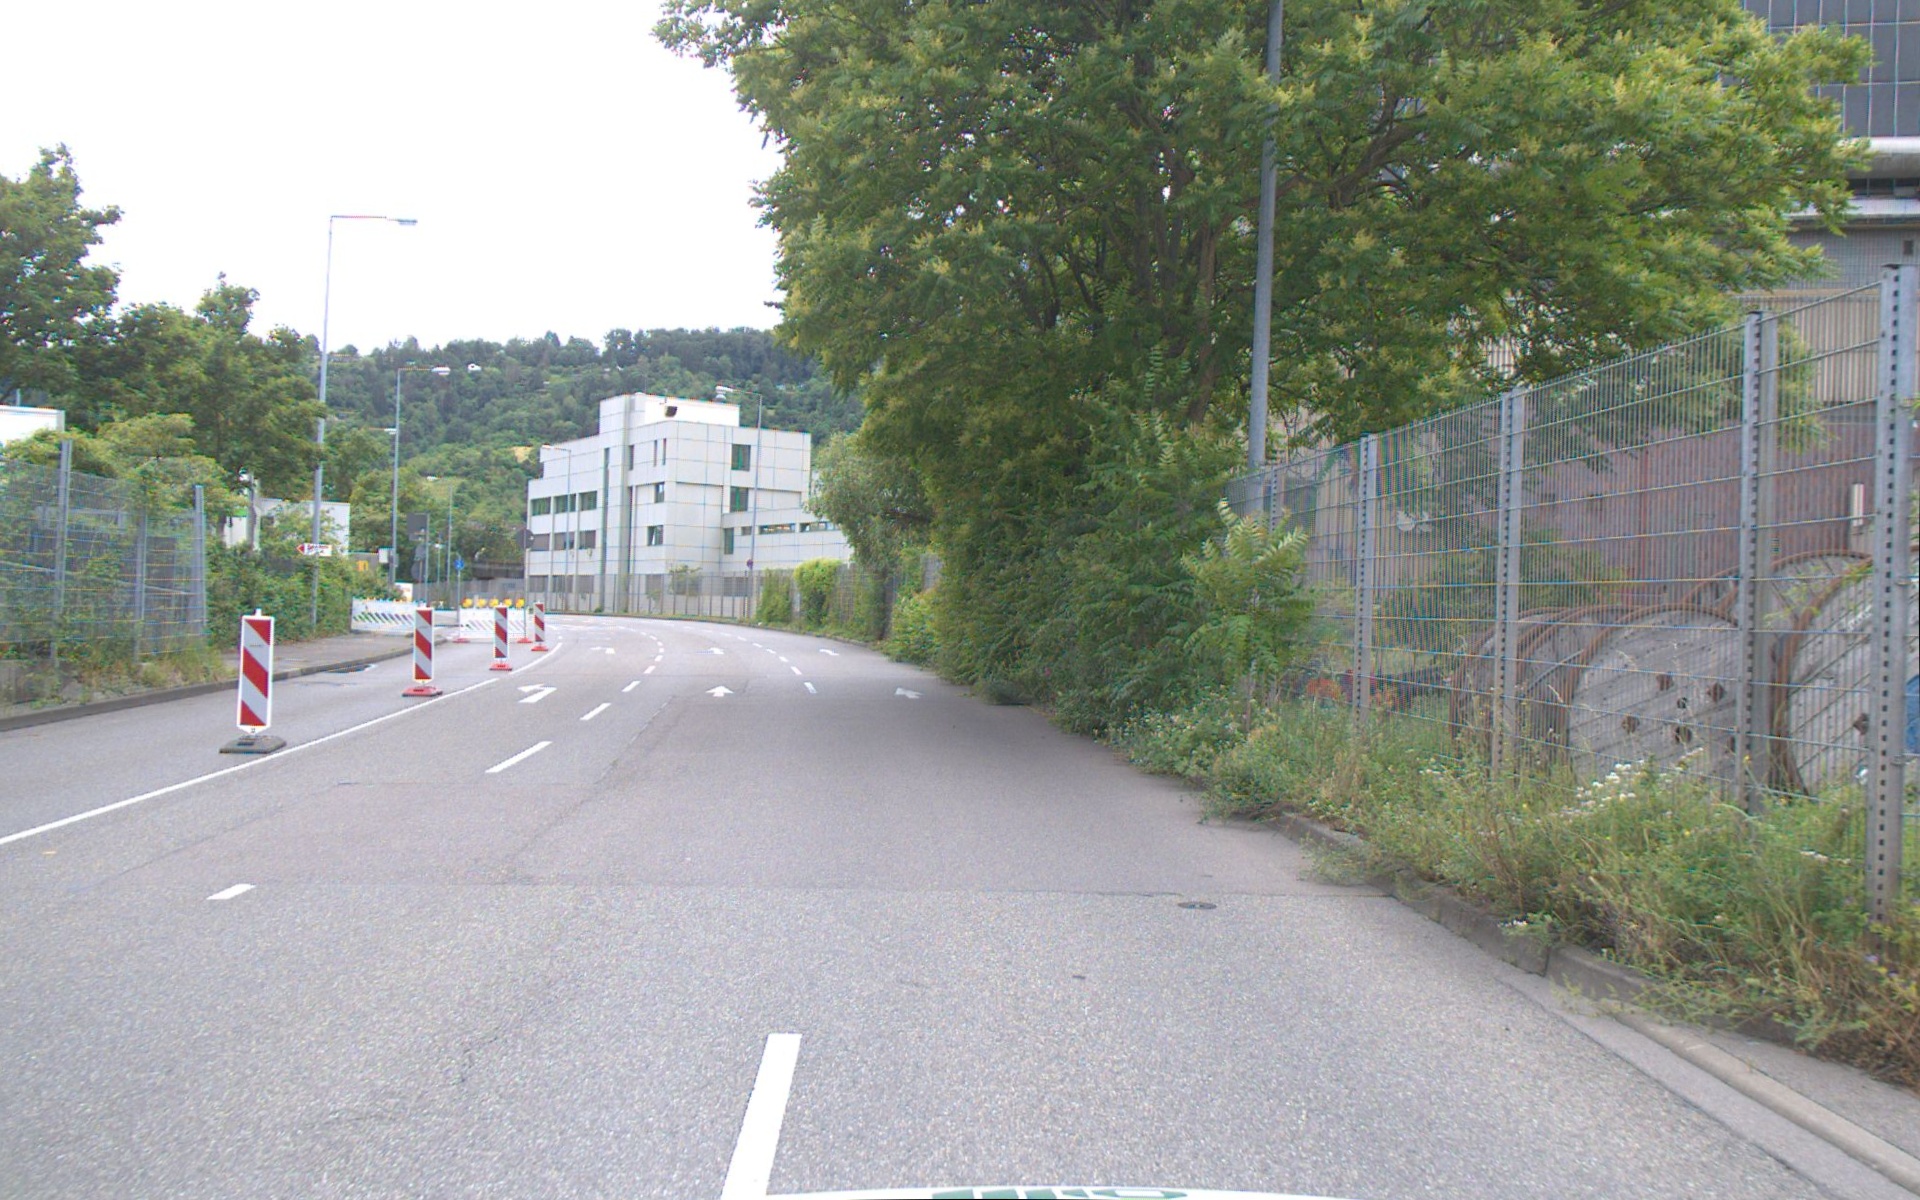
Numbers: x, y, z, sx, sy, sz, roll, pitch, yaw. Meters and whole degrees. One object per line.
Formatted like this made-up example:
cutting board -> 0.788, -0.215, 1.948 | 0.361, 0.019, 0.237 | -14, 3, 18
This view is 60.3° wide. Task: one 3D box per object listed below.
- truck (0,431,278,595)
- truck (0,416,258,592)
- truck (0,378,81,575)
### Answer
truck -> -24.340, -2.381, 46.071 | 9.471, 4.061, 3.036 | 2, -2, -18
truck -> -22.576, -2.426, 42.864 | 7.724, 4.061, 3.035 | 2, -2, -20
truck -> -21.238, -2.516, 31.317 | 7.771, 3.601, 3.016 | 3, -3, -34
